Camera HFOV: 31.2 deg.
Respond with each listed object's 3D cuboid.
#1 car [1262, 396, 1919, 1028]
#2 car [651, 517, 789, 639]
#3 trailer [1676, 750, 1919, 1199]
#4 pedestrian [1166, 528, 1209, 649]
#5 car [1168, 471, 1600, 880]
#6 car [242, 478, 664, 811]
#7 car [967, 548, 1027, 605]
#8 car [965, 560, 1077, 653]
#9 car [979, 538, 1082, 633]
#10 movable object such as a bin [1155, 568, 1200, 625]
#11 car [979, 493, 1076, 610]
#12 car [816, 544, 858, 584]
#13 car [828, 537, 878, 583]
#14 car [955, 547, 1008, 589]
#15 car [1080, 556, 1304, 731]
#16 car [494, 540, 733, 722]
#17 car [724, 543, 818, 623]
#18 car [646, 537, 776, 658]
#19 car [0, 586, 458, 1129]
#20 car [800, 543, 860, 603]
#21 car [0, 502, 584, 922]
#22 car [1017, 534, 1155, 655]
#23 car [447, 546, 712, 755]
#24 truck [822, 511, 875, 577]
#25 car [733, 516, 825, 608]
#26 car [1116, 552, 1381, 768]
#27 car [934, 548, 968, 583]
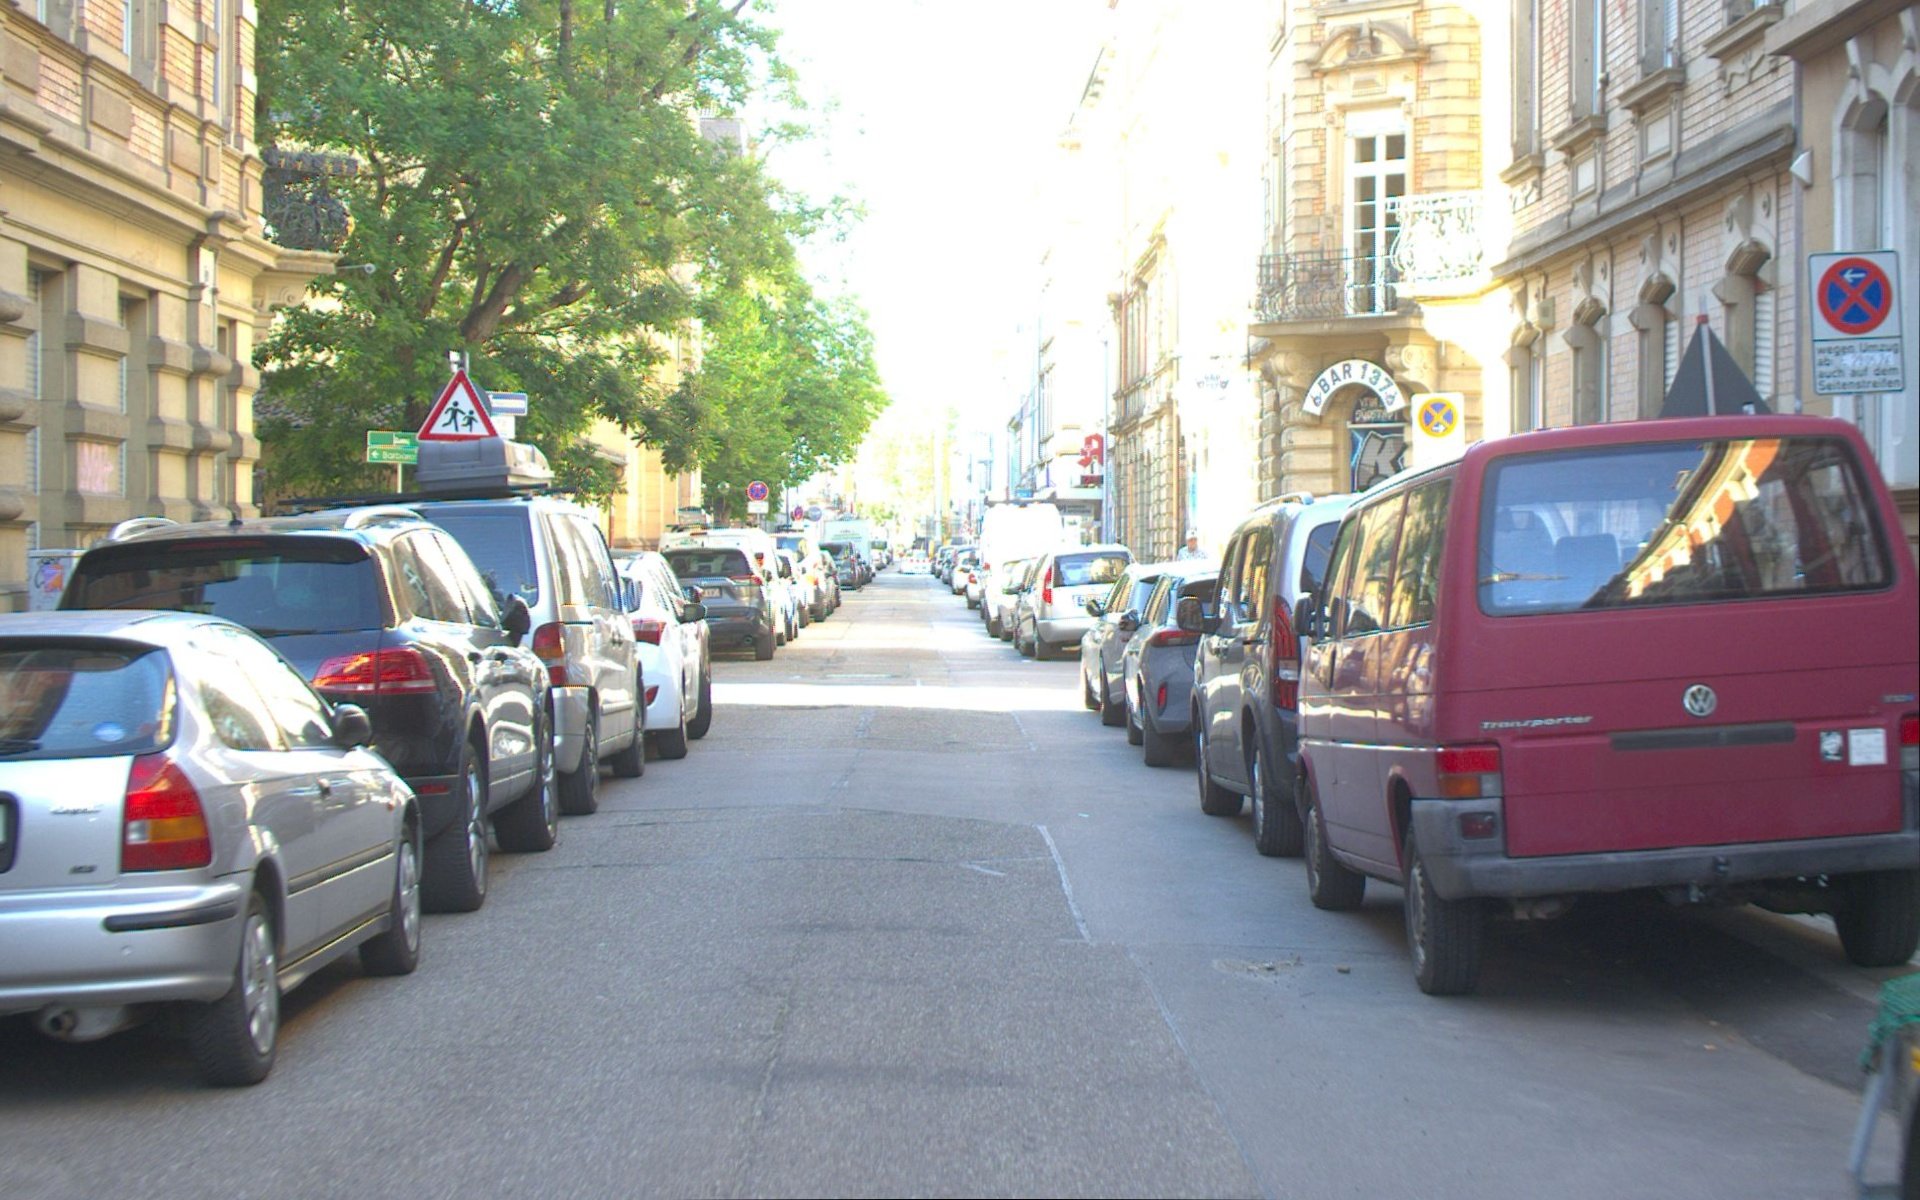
[{"bbox_3d":[2.363,0.328,13.561,1.832,2.007,4.742,2,1,0],"label":"car"},{"bbox_3d":[-3.766,-0.380,54.540,1.845,1.856,4.465,0,1,0],"label":"car"},{"bbox_3d":[2.443,0.964,6.205,1.504,1.109,3.039,4,1,-2],"label":"trailer"},{"bbox_3d":[3.297,-0.174,49.876,0.574,1.727,0.664,-1,1,2],"label":"pedestrian"},{"bbox_3d":[2.209,0.334,19.003,1.769,1.954,4.264,2,1,0],"label":"car"},{"bbox_3d":[-2.993,0.211,21.247,1.892,1.778,4.608,2,1,0],"label":"car"},{"bbox_3d":[1.027,-0.673,96.177,1.603,1.499,4.000,2,1,1],"label":"car"},{"bbox_3d":[1.054,0.085,61.307,1.572,1.520,3.909,2,1,-5],"label":"car"},{"bbox_3d":[1.304,-0.275,65.320,1.808,1.684,4.214,2,0,0],"label":"car"},{"bbox_3d":[4.072,-0.067,64.358,0.548,1.049,0.603,-3,1,-34],"label":"movable object such as a bin"},{"bbox_3d":[1.530,-1.139,80.177,2.068,2.602,5.888,1,1,-1],"label":"car"},{"bbox_3d":[-5.687,-1.663,158.464,1.875,1.790,4.001,0,1,-3],"label":"car"},{"bbox_3d":[-4.243,-1.586,136.435,1.875,1.790,4.000,0,1,0],"label":"car"},{"bbox_3d":[0.764,-1.162,124.529,1.897,1.483,3.869,0,1,0],"label":"car"},{"bbox_3d":[2.086,0.346,32.024,1.706,1.454,4.511,2,1,0],"label":"car"},{"bbox_3d":[-3.040,0.228,30.888,1.722,1.476,4.090,2,1,0],"label":"car"},{"bbox_3d":[-3.847,-0.371,70.476,1.742,1.581,3.869,1,1,-1],"label":"car"},{"bbox_3d":[-3.506,-0.073,48.973,1.740,1.641,4.290,0,1,-3],"label":"car"},{"bbox_3d":[-2.777,0.674,11.083,1.698,1.309,4.000,4,1,-1],"label":"car"},{"bbox_3d":[-3.663,-0.788,97.302,1.600,1.608,3.808,-2,1,-1],"label":"car"},{"bbox_3d":[-2.925,0.412,15.996,1.788,1.619,4.608,2,1,0],"label":"car"},{"bbox_3d":[1.828,-0.113,50.774,1.703,1.708,3.938,-1,1,-3],"label":"car"},{"bbox_3d":[-2.808,0.323,26.030,1.674,1.416,3.875,2,1,-2],"label":"car"},{"bbox_3d":[-5.635,-2.850,174.913,2.532,3.270,6.995,0,1,0],"label":"truck"},{"bbox_3d":[-3.980,-0.854,76.247,1.864,1.950,4.610,-1,1,-1],"label":"car"},{"bbox_3d":[2.122,0.397,26.216,1.666,1.474,3.888,0,1,0],"label":"car"},{"bbox_3d":[-0.521,-2.051,201.024,1.993,2.007,4.000,0,1,0],"label":"car"}]
